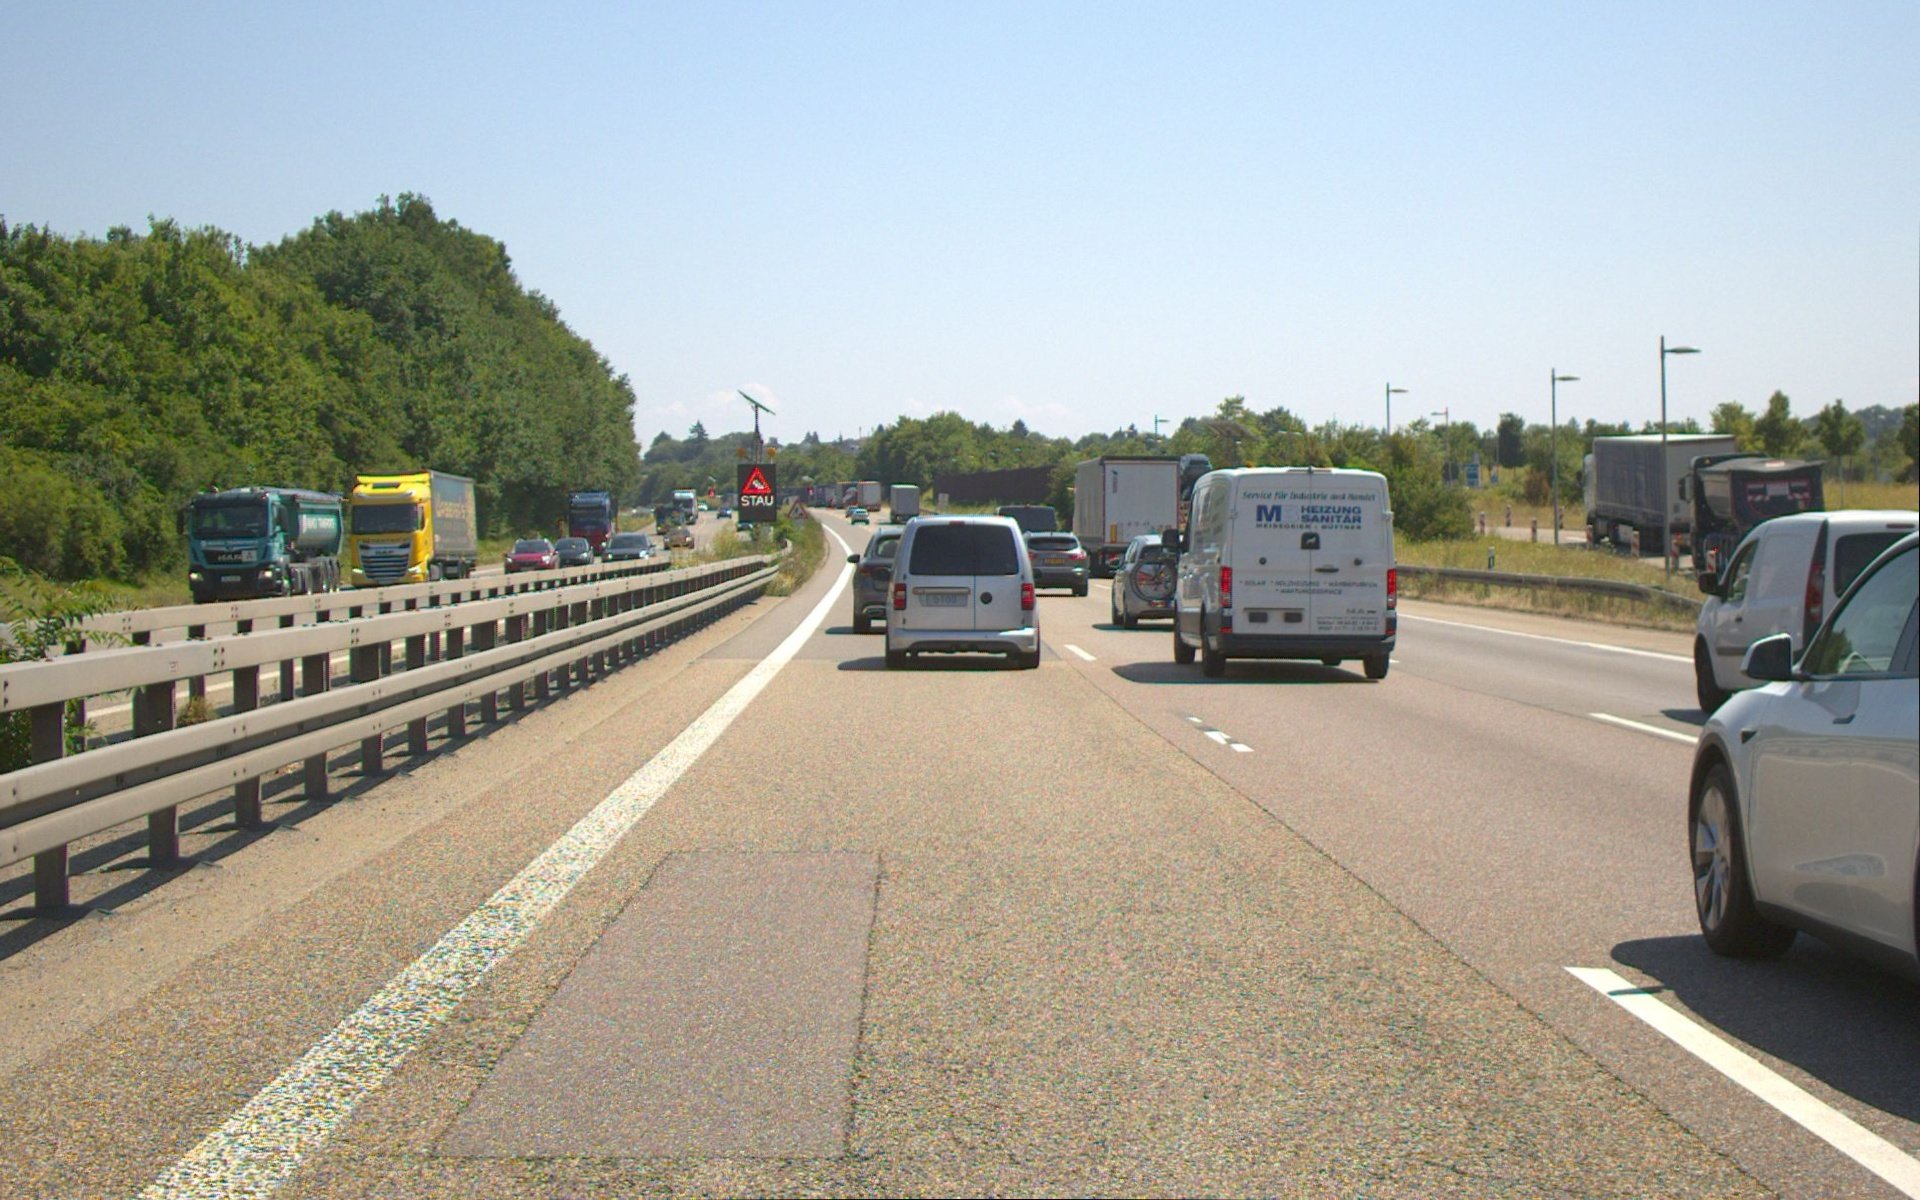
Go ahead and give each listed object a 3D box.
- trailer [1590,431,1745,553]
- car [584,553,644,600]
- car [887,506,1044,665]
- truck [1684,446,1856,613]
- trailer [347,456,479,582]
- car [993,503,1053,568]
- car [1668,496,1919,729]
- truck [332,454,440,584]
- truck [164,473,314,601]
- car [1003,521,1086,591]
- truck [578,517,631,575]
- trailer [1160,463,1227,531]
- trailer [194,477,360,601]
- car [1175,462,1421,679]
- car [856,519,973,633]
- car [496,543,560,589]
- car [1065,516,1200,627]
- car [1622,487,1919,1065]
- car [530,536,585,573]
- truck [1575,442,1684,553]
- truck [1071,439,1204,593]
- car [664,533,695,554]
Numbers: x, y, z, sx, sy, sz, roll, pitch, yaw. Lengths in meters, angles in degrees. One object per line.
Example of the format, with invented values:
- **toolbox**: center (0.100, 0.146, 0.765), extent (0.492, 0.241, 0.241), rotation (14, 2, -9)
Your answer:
- **trailer**: center (25.322, -3.751, 123.832), extent (3.052, 4.069, 14.257), rotation (1, 1, 2)
- **car**: center (-12.196, -0.844, 121.364), extent (1.782, 1.619, 4.000), rotation (-1, 1, -1)
- **car**: center (0.050, -0.193, 40.759), extent (1.745, 1.758, 4.089), rotation (-1, 1, 0)
- **truck**: center (21.378, -1.821, 91.474), extent (3.790, 4.069, 12.513), rotation (1, 1, 11)
- **trailer**: center (-19.893, -2.922, 125.812), extent (3.174, 4.326, 13.814), rotation (-1, 1, -3)
- **car**: center (1.866, -1.909, 102.594), extent (1.674, 1.885, 4.089), rotation (-1, 1, 0)
- **car**: center (7.536, 0.063, 29.332), extent (1.950, 1.831, 4.179), rotation (-1, 1, -2)
- **truck**: center (-19.523, -2.753, 117.157), extent (3.174, 4.326, 3.514), rotation (-1, 1, -3)
- **truck**: center (-19.111, -1.665, 91.433), extent (2.914, 3.289, 5.331), rotation (-1, 1, -1)
- **car**: center (2.053, -1.086, 84.771), extent (1.901, 1.666, 4.089), rotation (-1, 1, 0)
- **truck**: center (-22.053, -3.369, 213.409), extent (2.996, 3.546, 3.118), rotation (-1, 1, -2)
- **trailer**: center (15.751, -6.924, 233.491), extent (2.605, 4.243, 18.424), rotation (1, 1, -2)
- **trailer**: center (-19.235, -1.722, 97.453), extent (2.914, 3.289, 9.711), rotation (-1, 1, -1)
- **car**: center (3.715, -0.346, 38.746), extent (2.181, 2.246, 5.363), rotation (1, 1, 0)
- **car**: center (-0.695, -0.397, 54.065), extent (1.745, 1.695, 4.089), rotation (-1, 1, 0)
- **car**: center (-15.456, -1.211, 123.222), extent (1.782, 1.525, 4.385), rotation (-3, 1, -1)
- **car**: center (2.793, -0.481, 56.463), extent (1.976, 1.727, 4.089), rotation (-1, 1, 0)
- **car**: center (3.671, 0.500, 10.776), extent (1.950, 1.631, 5.601), rotation (1, 1, -1)
- **car**: center (-16.869, -1.921, 144.230), extent (1.712, 1.464, 4.146), rotation (-2, 1, 1)
- **truck**: center (25.609, -3.865, 131.692), extent (3.052, 4.069, 6.398), rotation (1, 1, 2)
- **truck**: center (6.040, -2.833, 119.161), extent (3.788, 4.982, 12.519), rotation (1, 1, 0)
- **car**: center (-19.007, -3.824, 232.966), extent (1.769, 1.330, 4.922), rotation (-2, 1, -2)
